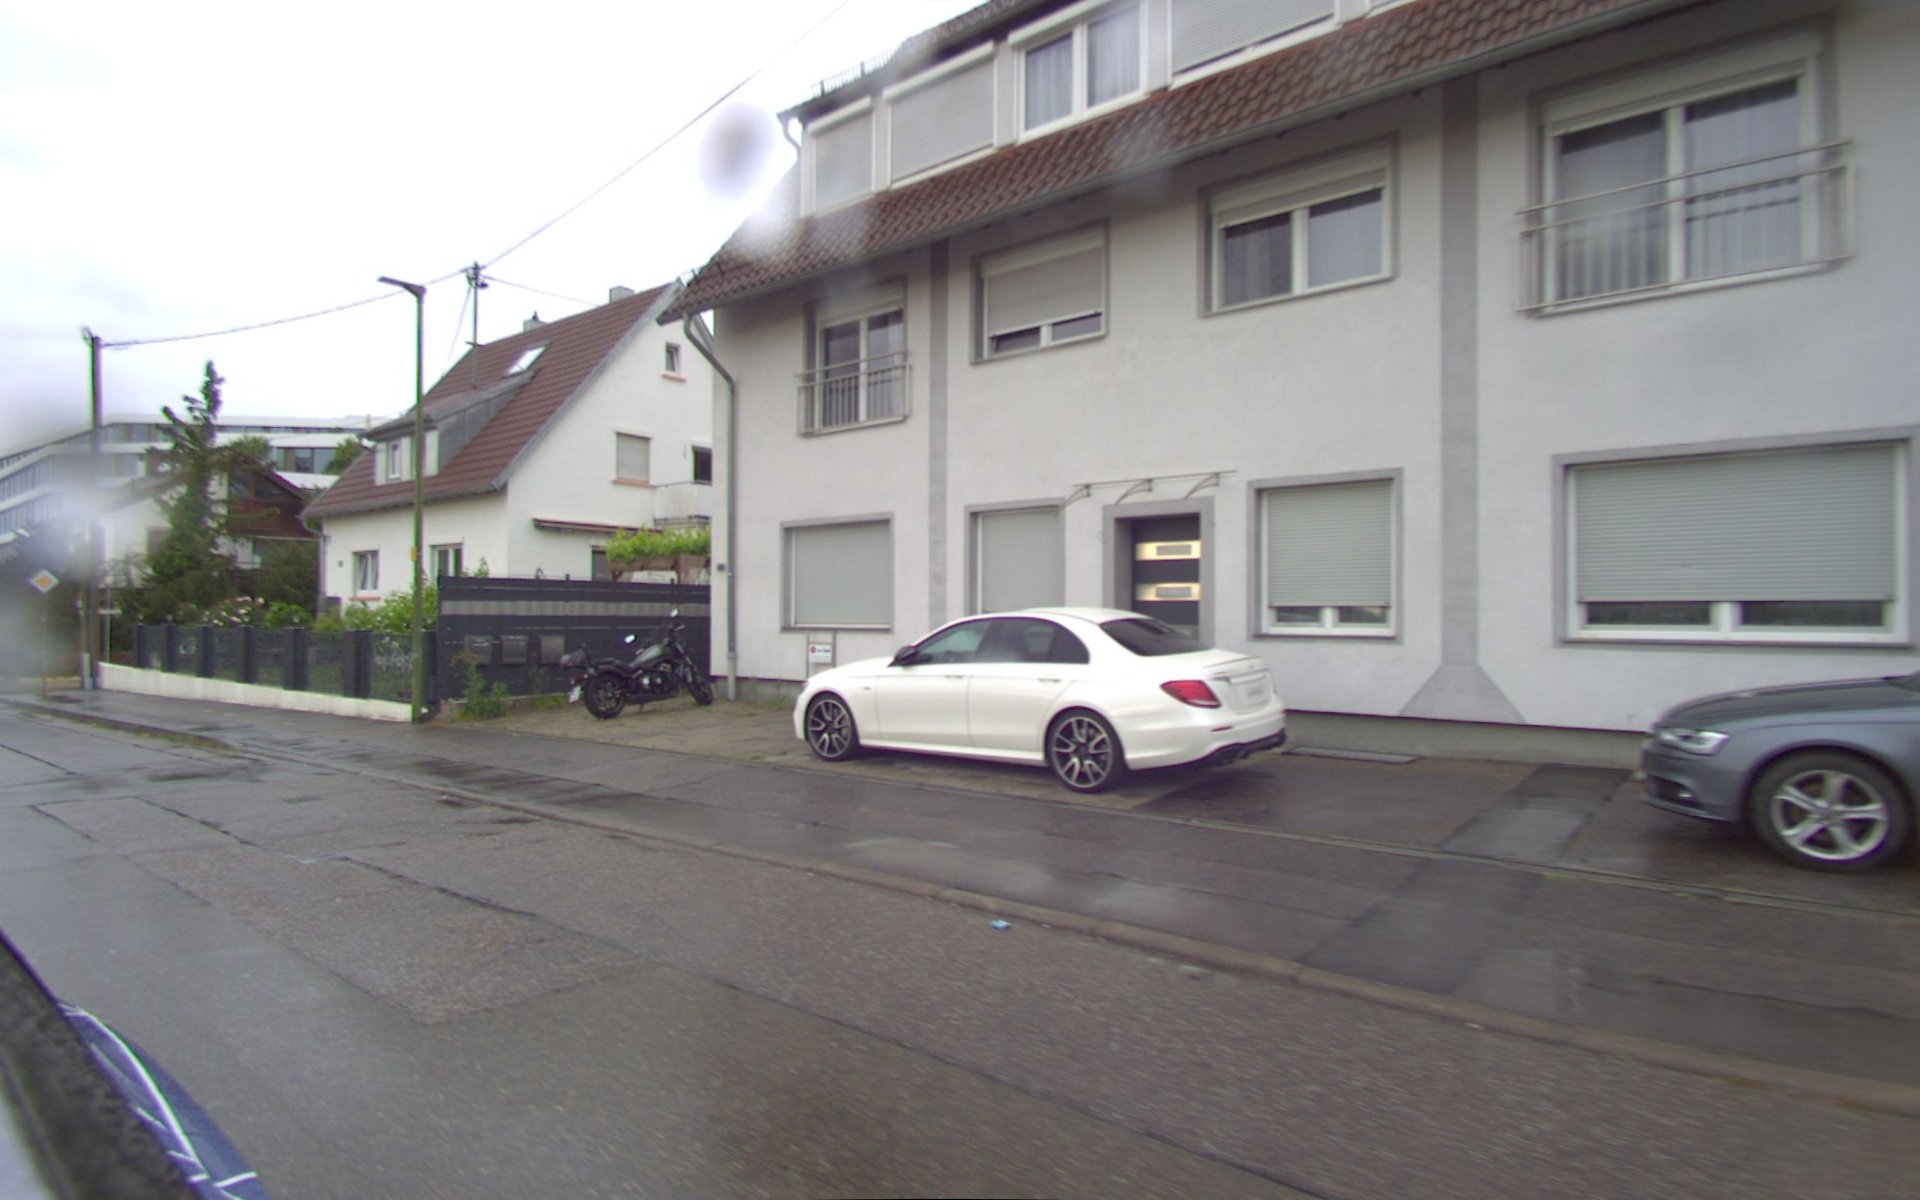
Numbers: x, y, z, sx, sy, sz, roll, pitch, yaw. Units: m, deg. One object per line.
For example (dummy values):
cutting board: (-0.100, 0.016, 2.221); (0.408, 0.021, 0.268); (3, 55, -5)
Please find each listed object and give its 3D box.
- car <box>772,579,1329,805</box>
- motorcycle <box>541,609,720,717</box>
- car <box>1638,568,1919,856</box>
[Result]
car: (0.633, 0.681, 9.448); (4.890, 1.521, 1.974); (-2, 2, 39)
motorcycle: (-4.597, 0.841, 14.322); (0.735, 1.283, 2.339); (-2, 2, 39)
car: (6.208, 0.516, 5.108); (4.560, 1.378, 1.811); (-2, 2, 36)
